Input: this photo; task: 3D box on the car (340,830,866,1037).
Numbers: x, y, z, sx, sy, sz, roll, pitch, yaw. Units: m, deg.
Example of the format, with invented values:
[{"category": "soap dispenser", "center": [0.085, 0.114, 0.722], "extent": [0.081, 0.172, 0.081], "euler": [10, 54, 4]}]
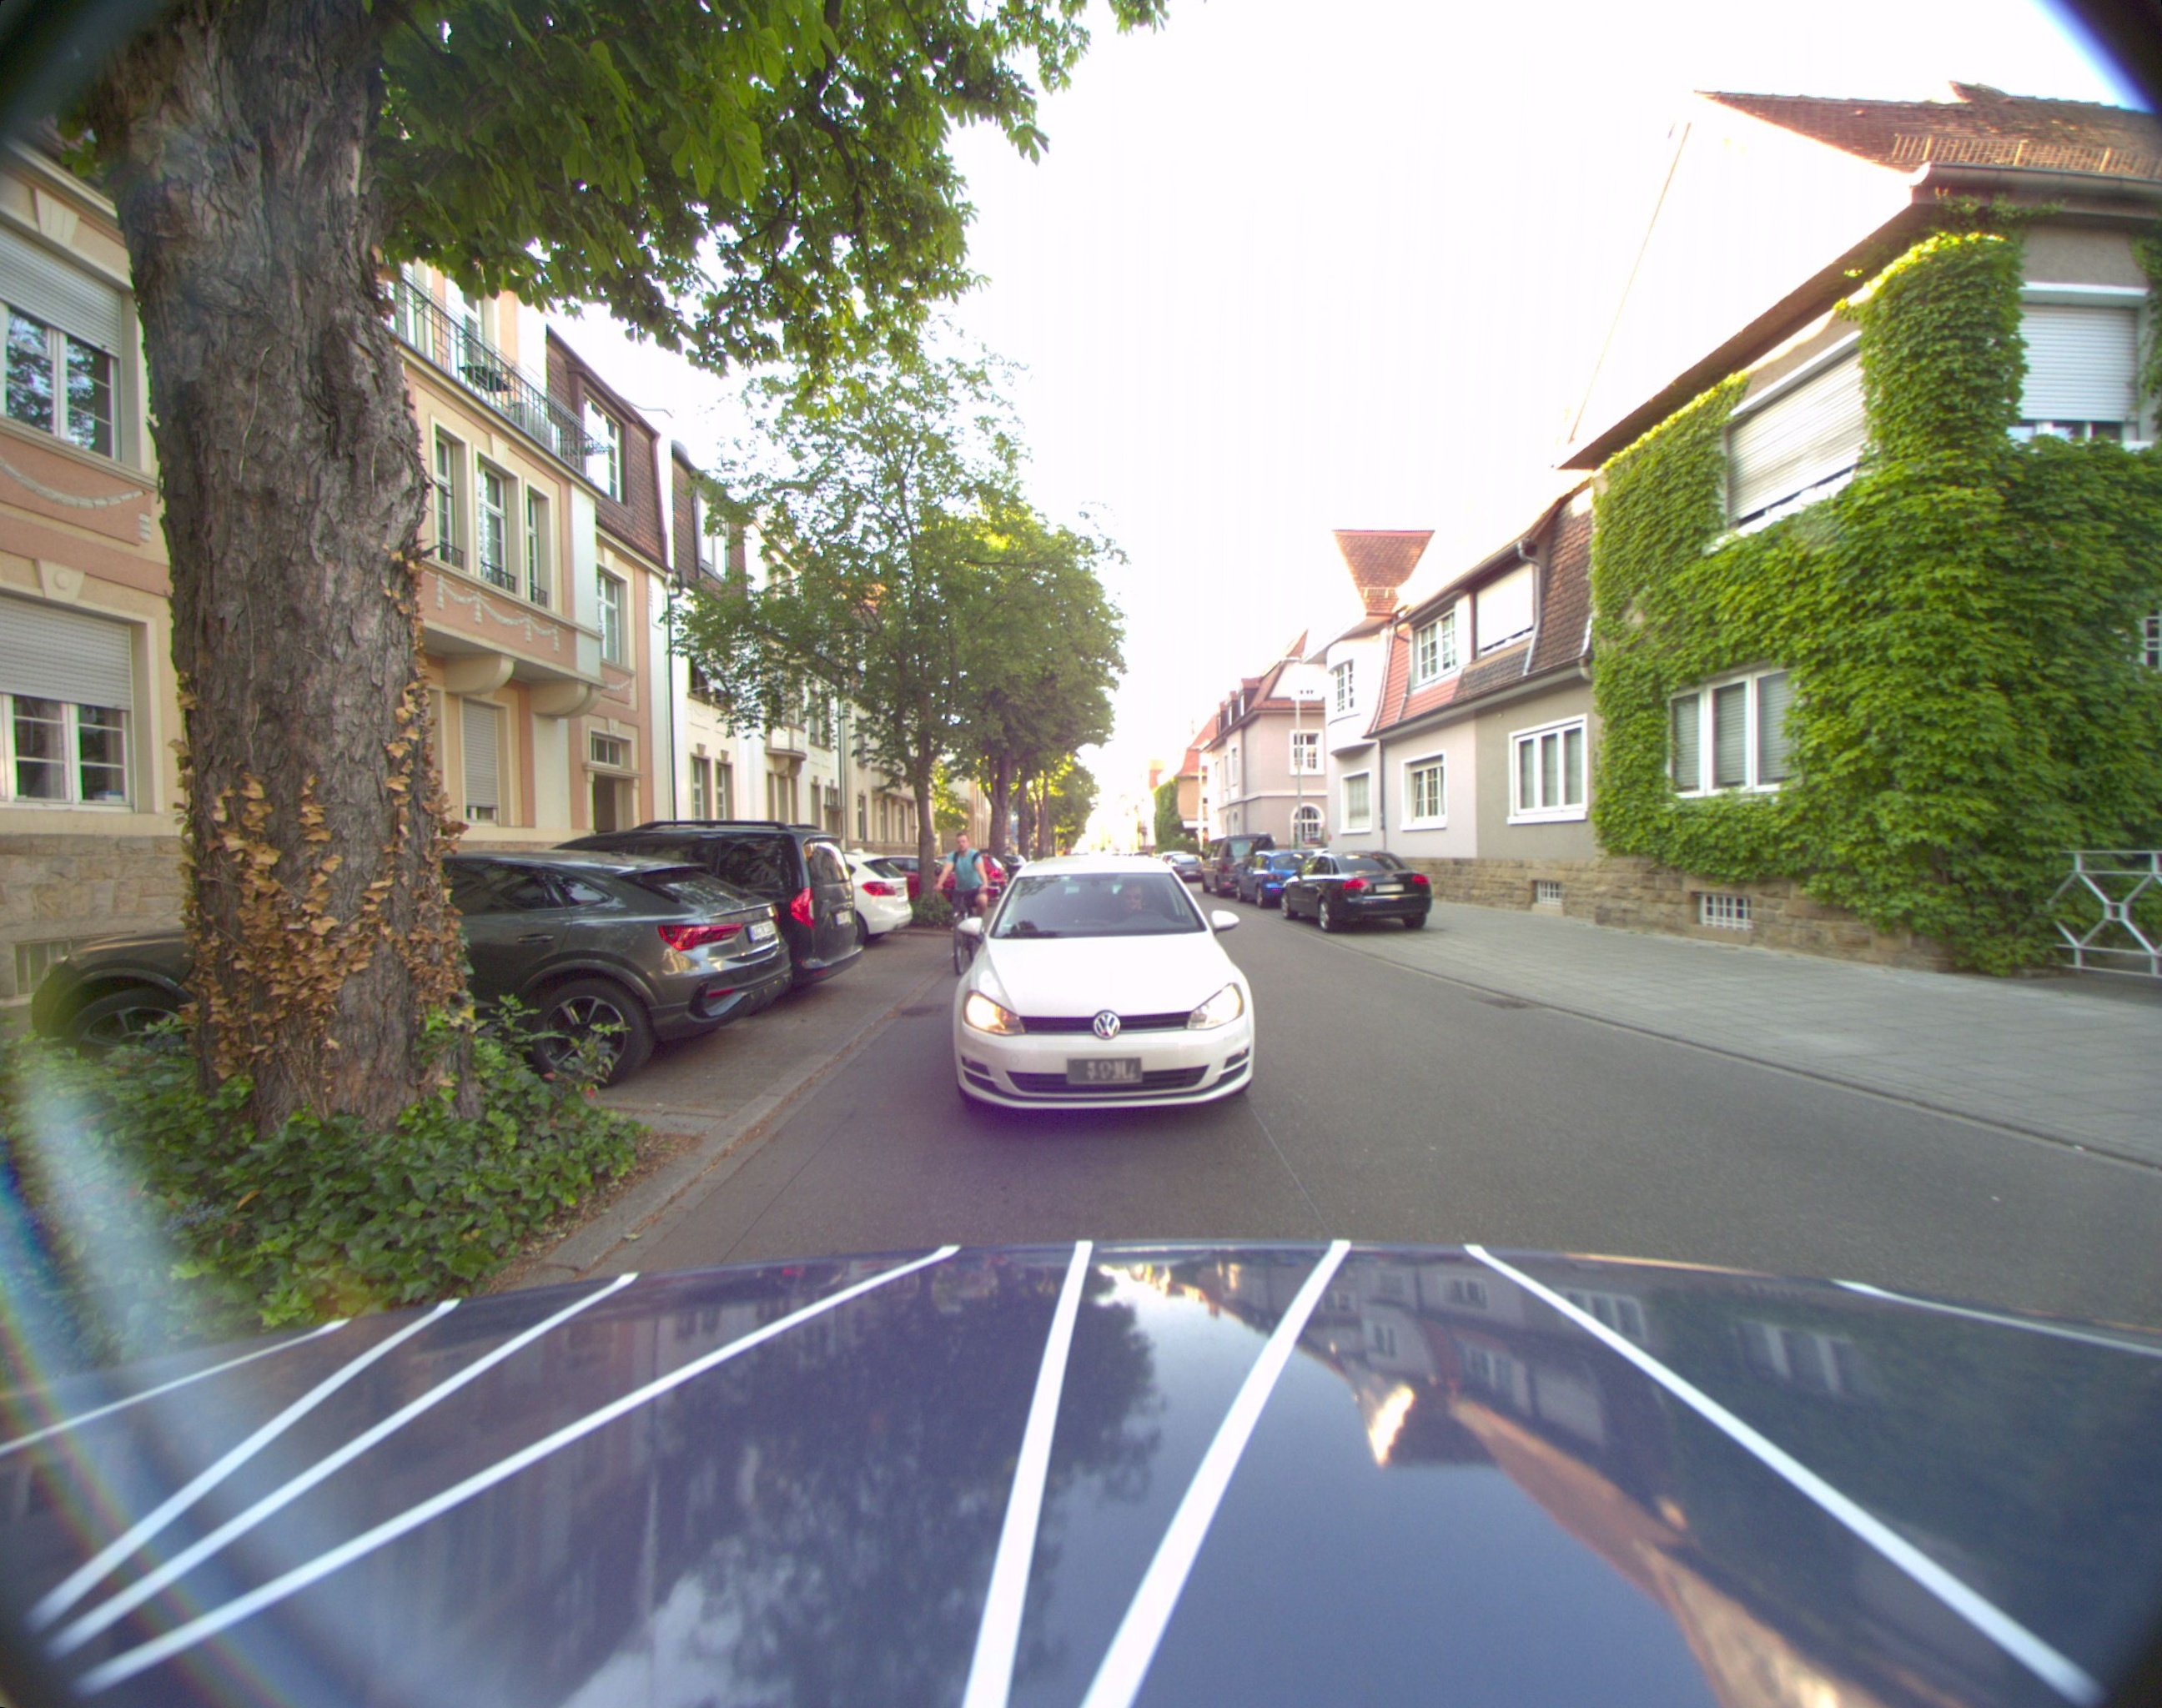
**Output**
[{"category": "car", "center": [-4.452, 0.704, 7.599], "extent": [4.173, 1.816, 1.594], "euler": [1, 1, -4]}]

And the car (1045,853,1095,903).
[{"category": "car", "center": [-0.315, 0.748, 25.921], "extent": [1.560, 1.546, 3.738], "euler": [1, 0, 1]}]

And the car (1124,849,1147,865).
[{"category": "car", "center": [5.398, 0.284, 75.439], "extent": [1.643, 1.461, 3.688], "euler": [-3, 1, -4]}]

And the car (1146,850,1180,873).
[{"category": "car", "center": [5.435, 0.449, 50.621], "extent": [1.719, 1.363, 3.945], "euler": [-3, 0, 0]}]

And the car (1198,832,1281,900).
[{"category": "car", "center": [5.144, 0.332, 25.271], "extent": [1.719, 1.961, 4.310], "euler": [-4, 1, 0]}]

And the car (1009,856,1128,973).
[{"category": "car", "center": [-0.143, 0.829, 12.318], "extent": [1.600, 1.546, 4.000], "euler": [1, 0, 1]}]

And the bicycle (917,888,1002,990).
[{"category": "bicycle", "center": [-1.569, 1.071, 10.172], "extent": [0.744, 1.111, 2.013], "euler": [-2, 0, 1]}]

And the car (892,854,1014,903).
[{"category": "car", "center": [-4.052, 0.755, 24.344], "extent": [3.622, 1.456, 1.537], "euler": [1, 1, 0]}]

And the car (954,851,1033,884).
[{"category": "car", "center": [-4.210, 0.631, 36.784], "extent": [3.622, 1.555, 1.537], "euler": [0, 1, 0]}]

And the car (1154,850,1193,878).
[{"category": "car", "center": [5.077, 0.531, 42.107], "extent": [1.541, 1.363, 3.945], "euler": [-3, 0, 0]}]

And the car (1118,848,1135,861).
[{"category": "car", "center": [5.452, 0.033, 91.239], "extent": [1.643, 1.461, 3.689], "euler": [-3, 1, -1]}]

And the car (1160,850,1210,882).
[{"category": "car", "center": [4.973, 0.543, 36.829], "extent": [1.719, 1.363, 4.334], "euler": [-3, 0, 0]}]

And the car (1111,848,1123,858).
[{"category": "car", "center": [5.517, -0.119, 115.868], "extent": [1.643, 1.461, 3.689], "euler": [-3, 0, 0]}]

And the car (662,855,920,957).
[{"category": "car", "center": [-4.585, 0.809, 12.405], "extent": [3.623, 1.541, 1.537], "euler": [1, 1, -4]}]

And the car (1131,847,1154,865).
[{"category": "car", "center": [5.481, 0.164, 68.256], "extent": [1.643, 1.461, 3.945], "euler": [-3, 0, 0]}]

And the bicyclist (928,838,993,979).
[{"category": "bicyclist", "center": [-1.574, 0.687, 10.064], "extent": [0.648, 1.765, 0.830], "euler": [-2, 1, 1]}]

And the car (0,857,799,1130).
[{"category": "car", "center": [-4.387, 0.849, 5.417], "extent": [4.173, 1.583, 1.594], "euler": [1, 1, -4]}]

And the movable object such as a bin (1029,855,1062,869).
[{"category": "movable object such as a bin", "center": [-2.545, 0.542, 54.113], "extent": [1.947, 0.943, 1.430], "euler": [1, 0, -20]}]

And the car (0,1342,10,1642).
[{"category": "car", "center": [-4.671, 0.787, 0.519], "extent": [4.835, 1.814, 1.880], "euler": [1, 1, -4]}]

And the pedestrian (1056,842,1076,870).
[{"category": "pedestrian", "center": [-1.100, 0.141, 54.572], "extent": [1.191, 2.002, 0.929], "euler": [0, 1, -21]}]

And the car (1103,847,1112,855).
[{"category": "car", "center": [5.220, -0.562, 149.071], "extent": [1.643, 1.461, 3.689], "euler": [-3, 0, 0]}]

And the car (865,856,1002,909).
[{"category": "car", "center": [-4.165, 0.794, 21.789], "extent": [3.622, 1.395, 1.537], "euler": [1, 1, 0]}]

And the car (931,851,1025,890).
[{"category": "car", "center": [-4.153, 0.654, 30.948], "extent": [3.622, 1.555, 1.537], "euler": [0, 1, 0]}]

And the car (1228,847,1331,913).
[{"category": "car", "center": [5.202, 0.623, 20.414], "extent": [1.611, 1.455, 4.023], "euler": [-4, 1, 0]}]

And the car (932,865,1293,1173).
[{"category": "car", "center": [0.126, 0.874, 5.906], "extent": [1.799, 1.420, 4.023], "euler": [-2, 0, -1]}]

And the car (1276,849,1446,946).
[{"category": "car", "center": [5.095, 0.703, 14.425], "extent": [1.751, 1.421, 4.023], "euler": [-4, 1, 1]}]

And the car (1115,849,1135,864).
[{"category": "car", "center": [4.671, 0.235, 80.839], "extent": [1.643, 1.461, 3.688], "euler": [-3, 1, -4]}]

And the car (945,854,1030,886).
[{"category": "car", "center": [-4.148, 0.711, 34.134], "extent": [3.622, 1.395, 1.537], "euler": [0, 1, 0]}]
